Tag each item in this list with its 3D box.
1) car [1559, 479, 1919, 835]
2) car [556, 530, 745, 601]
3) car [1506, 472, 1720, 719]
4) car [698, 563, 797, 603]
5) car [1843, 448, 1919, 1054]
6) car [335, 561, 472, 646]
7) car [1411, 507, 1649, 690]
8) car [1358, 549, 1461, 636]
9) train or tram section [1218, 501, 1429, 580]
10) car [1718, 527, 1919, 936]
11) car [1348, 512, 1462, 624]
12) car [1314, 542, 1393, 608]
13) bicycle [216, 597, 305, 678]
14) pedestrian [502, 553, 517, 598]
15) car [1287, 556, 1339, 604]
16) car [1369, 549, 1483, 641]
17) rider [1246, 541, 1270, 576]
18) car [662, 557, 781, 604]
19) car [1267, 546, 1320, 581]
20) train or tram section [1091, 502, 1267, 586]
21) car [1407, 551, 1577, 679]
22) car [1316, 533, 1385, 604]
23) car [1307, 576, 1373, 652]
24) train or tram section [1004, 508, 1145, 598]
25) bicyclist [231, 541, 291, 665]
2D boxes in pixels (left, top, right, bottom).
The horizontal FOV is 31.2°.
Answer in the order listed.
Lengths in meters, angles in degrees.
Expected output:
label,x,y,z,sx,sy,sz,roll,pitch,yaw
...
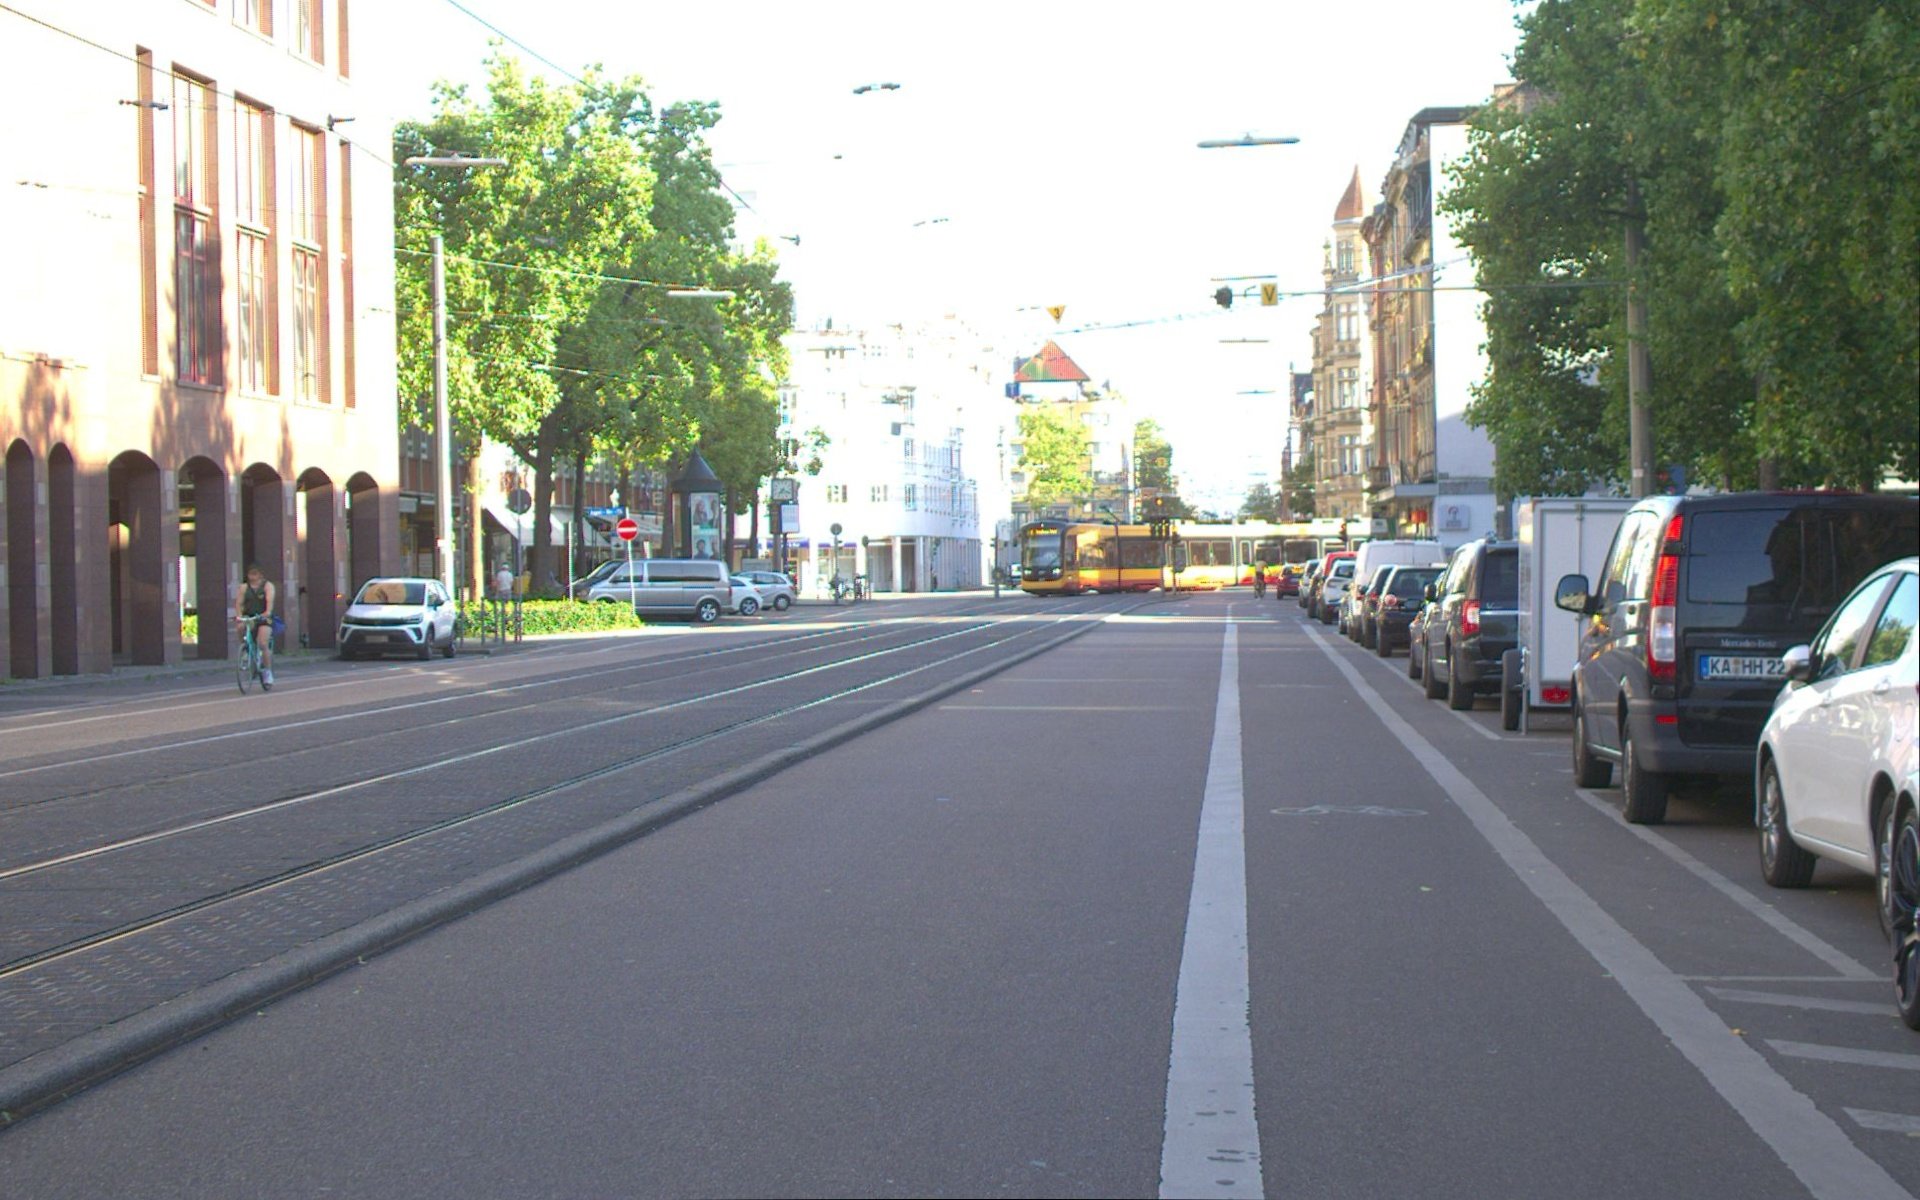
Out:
label,x,y,z,sx,sy,sz,roll,pitch,yaw
car,4.781,0.264,20.643,1.956,1.862,4.988,1,1,6
car,-9.547,-1.053,106.075,5.251,2.036,2.419,1,-1,-27
car,5.893,-0.047,31.344,1.706,2.112,3.705,0,0,8
car,-8.392,-0.666,135.582,3.519,1.476,1.582,1,1,-27
car,3.680,0.464,8.855,1.967,1.765,4.874,1,1,6
car,-10.982,0.041,68.095,1.869,1.594,4.254,0,1,2
car,5.990,-0.049,36.661,1.950,1.782,5.181,1,1,4
car,7.876,-0.155,60.485,1.621,1.468,3.970,0,1,5
train or tram section,18.843,-3.060,177.775,11.250,3.739,2.701,1,1,-29
car,4.410,0.460,14.438,1.731,1.491,3.961,1,1,3
car,8.540,-0.629,66.271,1.971,2.007,4.557,-2,1,6
car,9.679,-0.625,84.743,1.723,1.562,4.082,-1,1,4
bicycle,-9.834,0.513,48.394,0.582,1.074,2.185,-2,0,5
pedestrian,-13.493,-0.739,102.963,0.362,1.338,0.483,2,1,-15
car,12.065,-0.699,117.733,1.621,1.550,4.082,1,1,4
car,7.437,-0.106,55.122,1.621,1.427,3.984,0,1,5
rider,12.797,-1.791,147.485,0.884,1.476,0.712,1,1,14
car,-8.694,-0.727,125.353,3.868,1.622,1.876,1,1,-26
car,13.992,-1.536,144.420,2.066,1.384,4.224,2,1,4
train or tram section,10.929,-2.716,170.020,2.697,3.865,12.819,2,1,33
car,6.591,0.142,42.988,1.716,1.422,4.675,0,2,4
car,10.326,-0.840,91.063,1.621,1.807,4.082,1,1,4
car,10.533,0.365,95.448,1.621,2.000,3.830,1,1,4
train or tram section,5.419,-2.118,159.136,2.695,3.946,12.077,2,1,20
bicyclist,-9.857,0.034,48.458,0.571,1.706,0.745,-2,0,5
